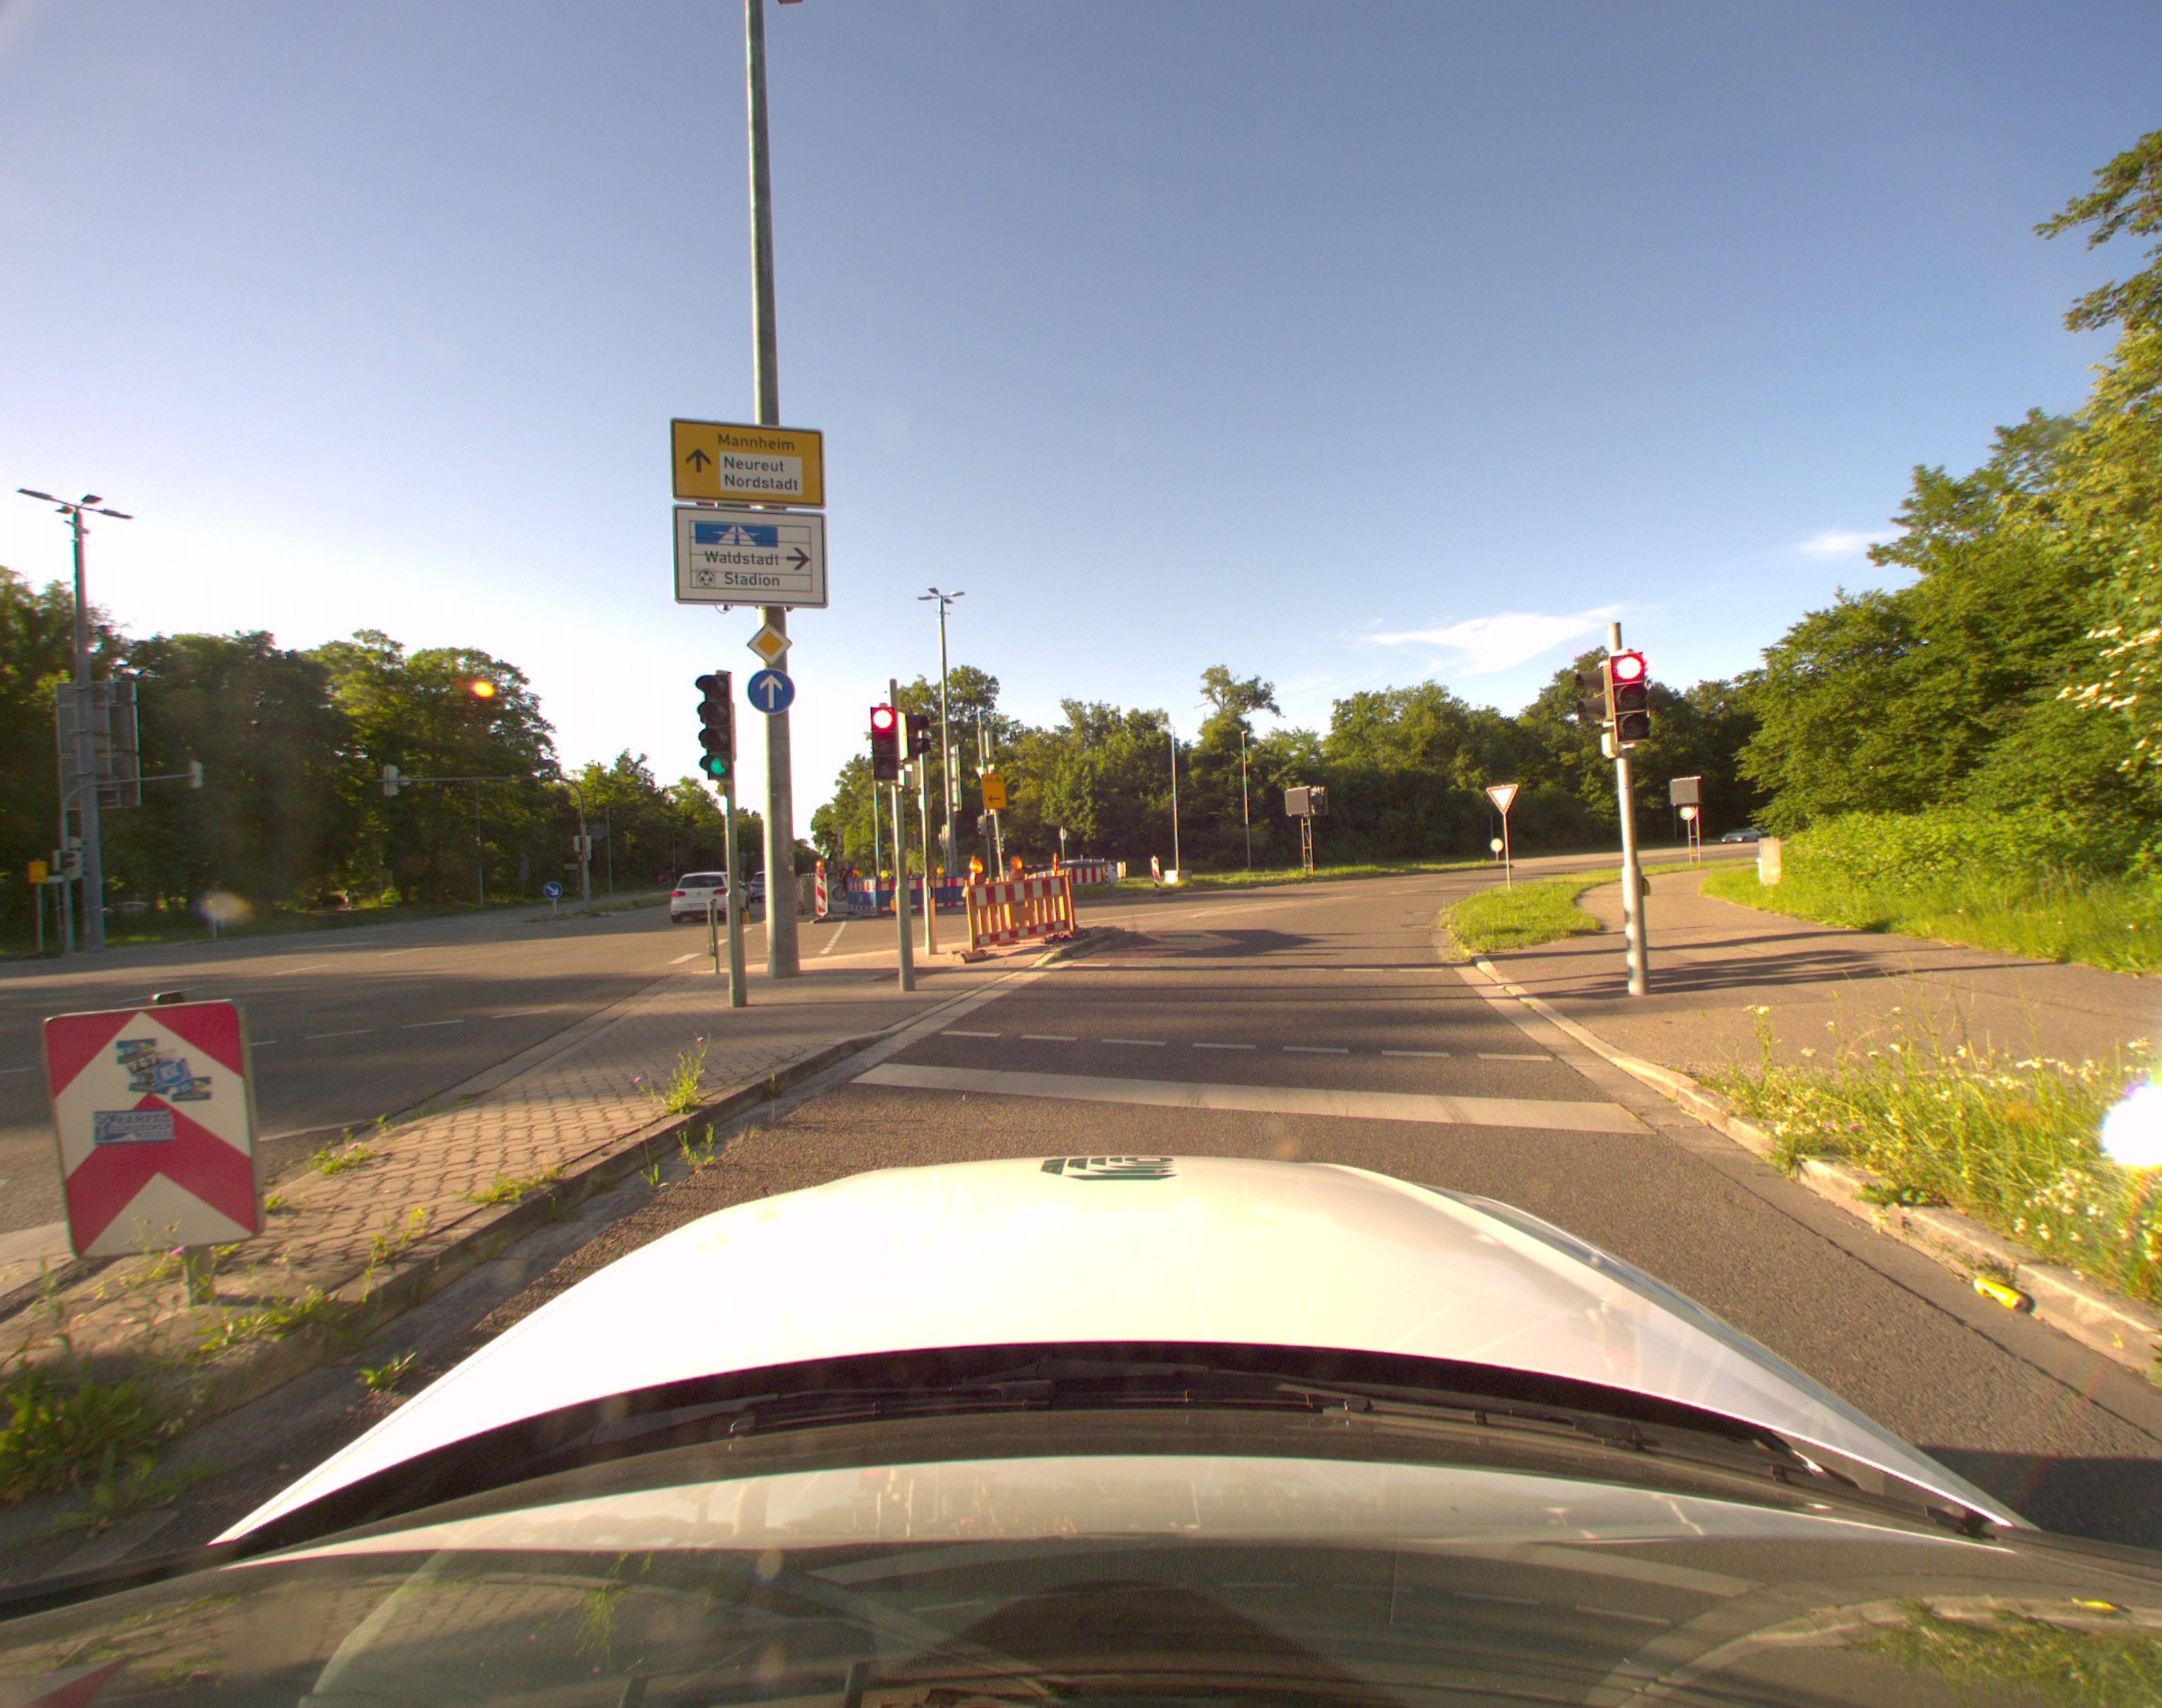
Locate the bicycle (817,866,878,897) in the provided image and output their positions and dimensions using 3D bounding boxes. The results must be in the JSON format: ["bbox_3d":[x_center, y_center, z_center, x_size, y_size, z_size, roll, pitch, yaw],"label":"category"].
[{"bbox_3d":[-11.152,1.309,38.893,0.956,1.383,2.656,-2,-1,44],"label":"bicycle"}]

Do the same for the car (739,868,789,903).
[{"bbox_3d":[-15.523,1.512,40.046,1.999,1.536,3.975,-3,0,-18],"label":"car"}]

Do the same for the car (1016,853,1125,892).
[{"bbox_3d":[-0.439,0.835,38.416,4.855,1.580,1.978,-2,-1,-36],"label":"car"}]

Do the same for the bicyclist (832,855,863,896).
[{"bbox_3d":[-11.157,1.012,38.908,0.956,1.930,1.022,-2,-1,44],"label":"bicyclist"}]

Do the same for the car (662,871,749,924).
[{"bbox_3d":[-11.629,1.291,25.456,1.945,1.414,3.975,-3,0,-18],"label":"car"}]

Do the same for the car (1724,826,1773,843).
[{"bbox_3d":[63.965,-1.892,78.045,4.821,1.436,1.981,-2,-1,-29],"label":"car"}]
